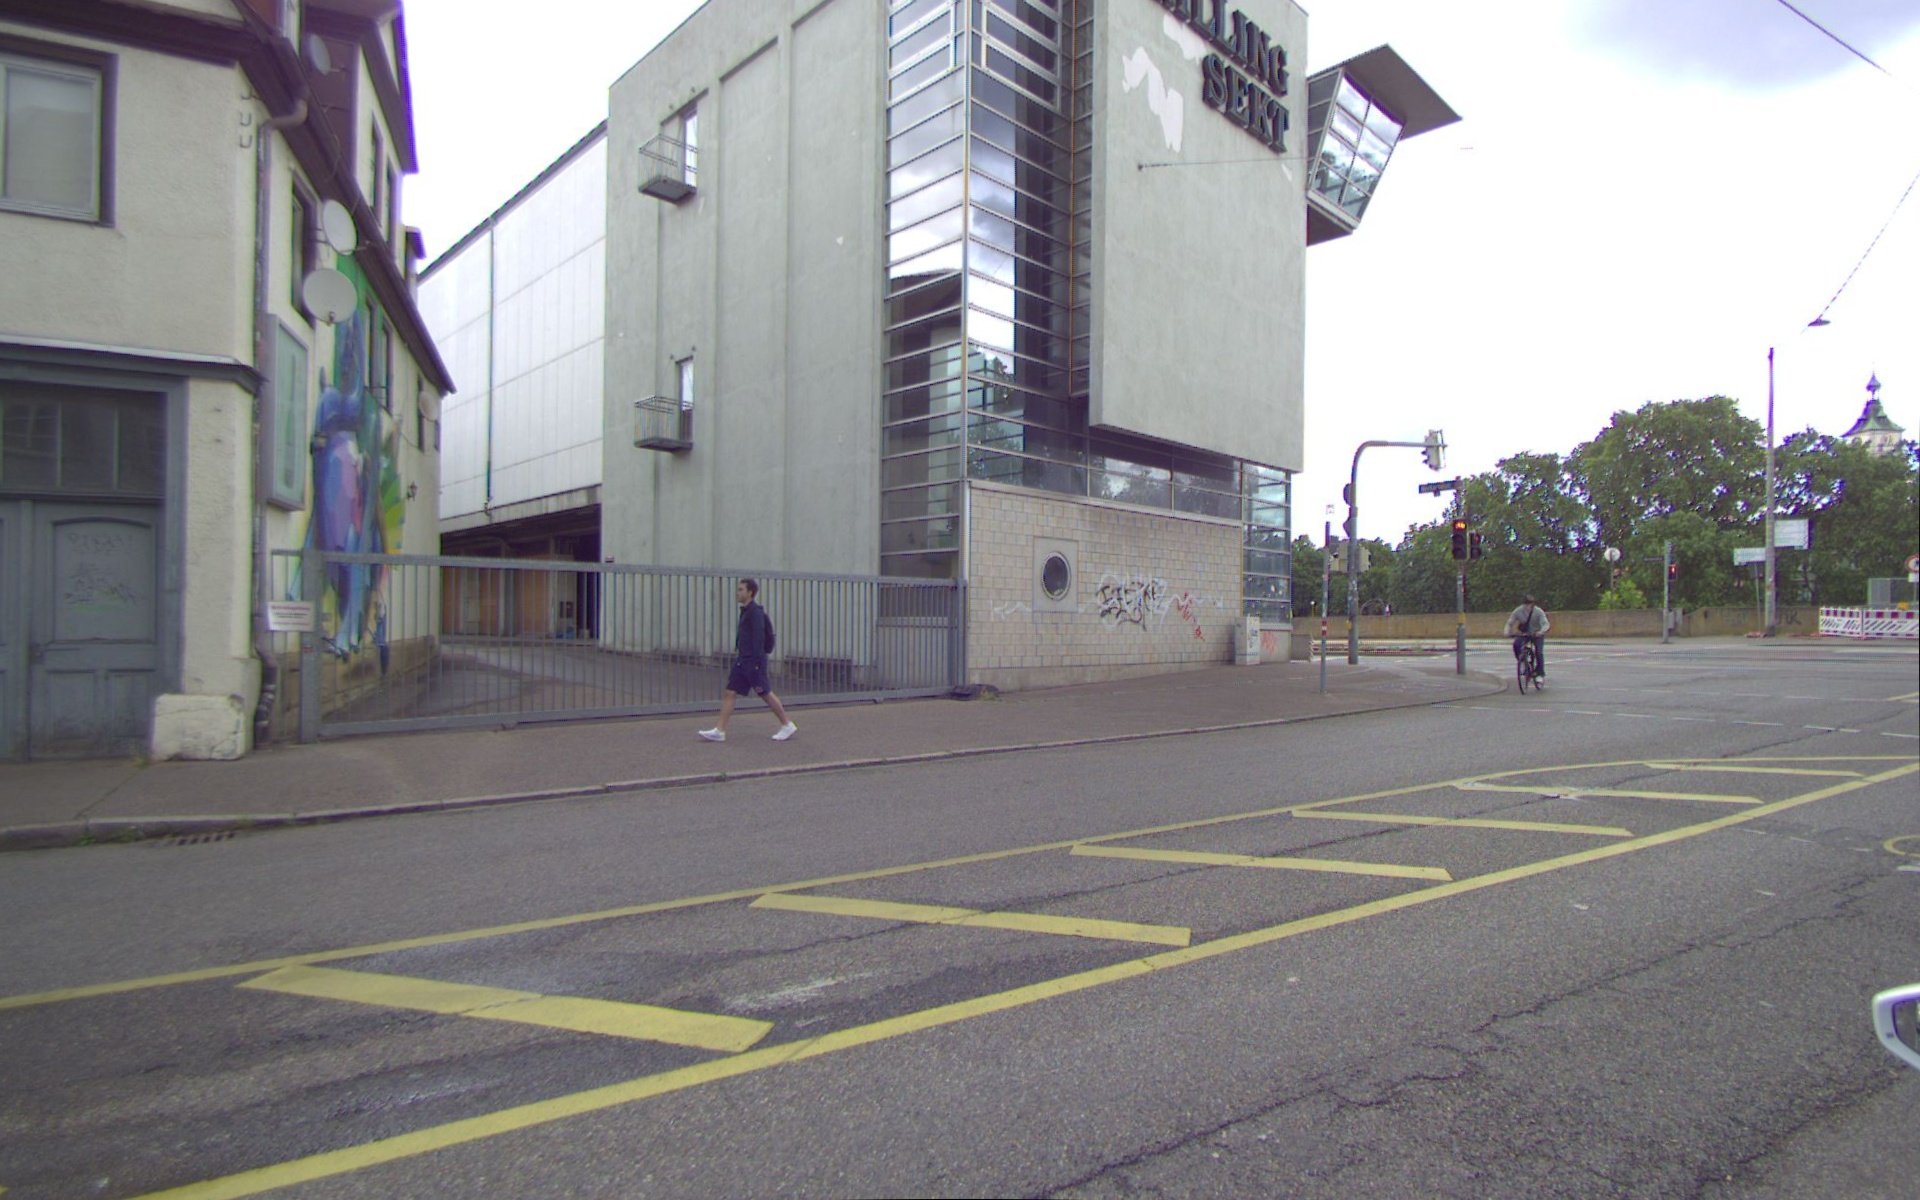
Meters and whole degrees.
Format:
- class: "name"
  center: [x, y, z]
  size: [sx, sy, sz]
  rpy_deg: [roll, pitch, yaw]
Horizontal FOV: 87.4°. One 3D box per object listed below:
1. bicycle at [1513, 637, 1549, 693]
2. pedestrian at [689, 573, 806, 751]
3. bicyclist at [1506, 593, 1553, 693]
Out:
- class: "bicycle"
  center: [10.234, 1.137, 17.996]
  size: [0.533, 0.904, 1.876]
  rpy_deg: [0, -1, 30]
- class: "pedestrian"
  center: [-2.437, 0.653, 11.471]
  size: [1.077, 1.911, 1.050]
  rpy_deg: [-1, 1, -27]
- class: "bicyclist"
  center: [10.130, 0.746, 17.867]
  size: [0.712, 1.723, 0.809]
  rpy_deg: [0, -1, 30]
